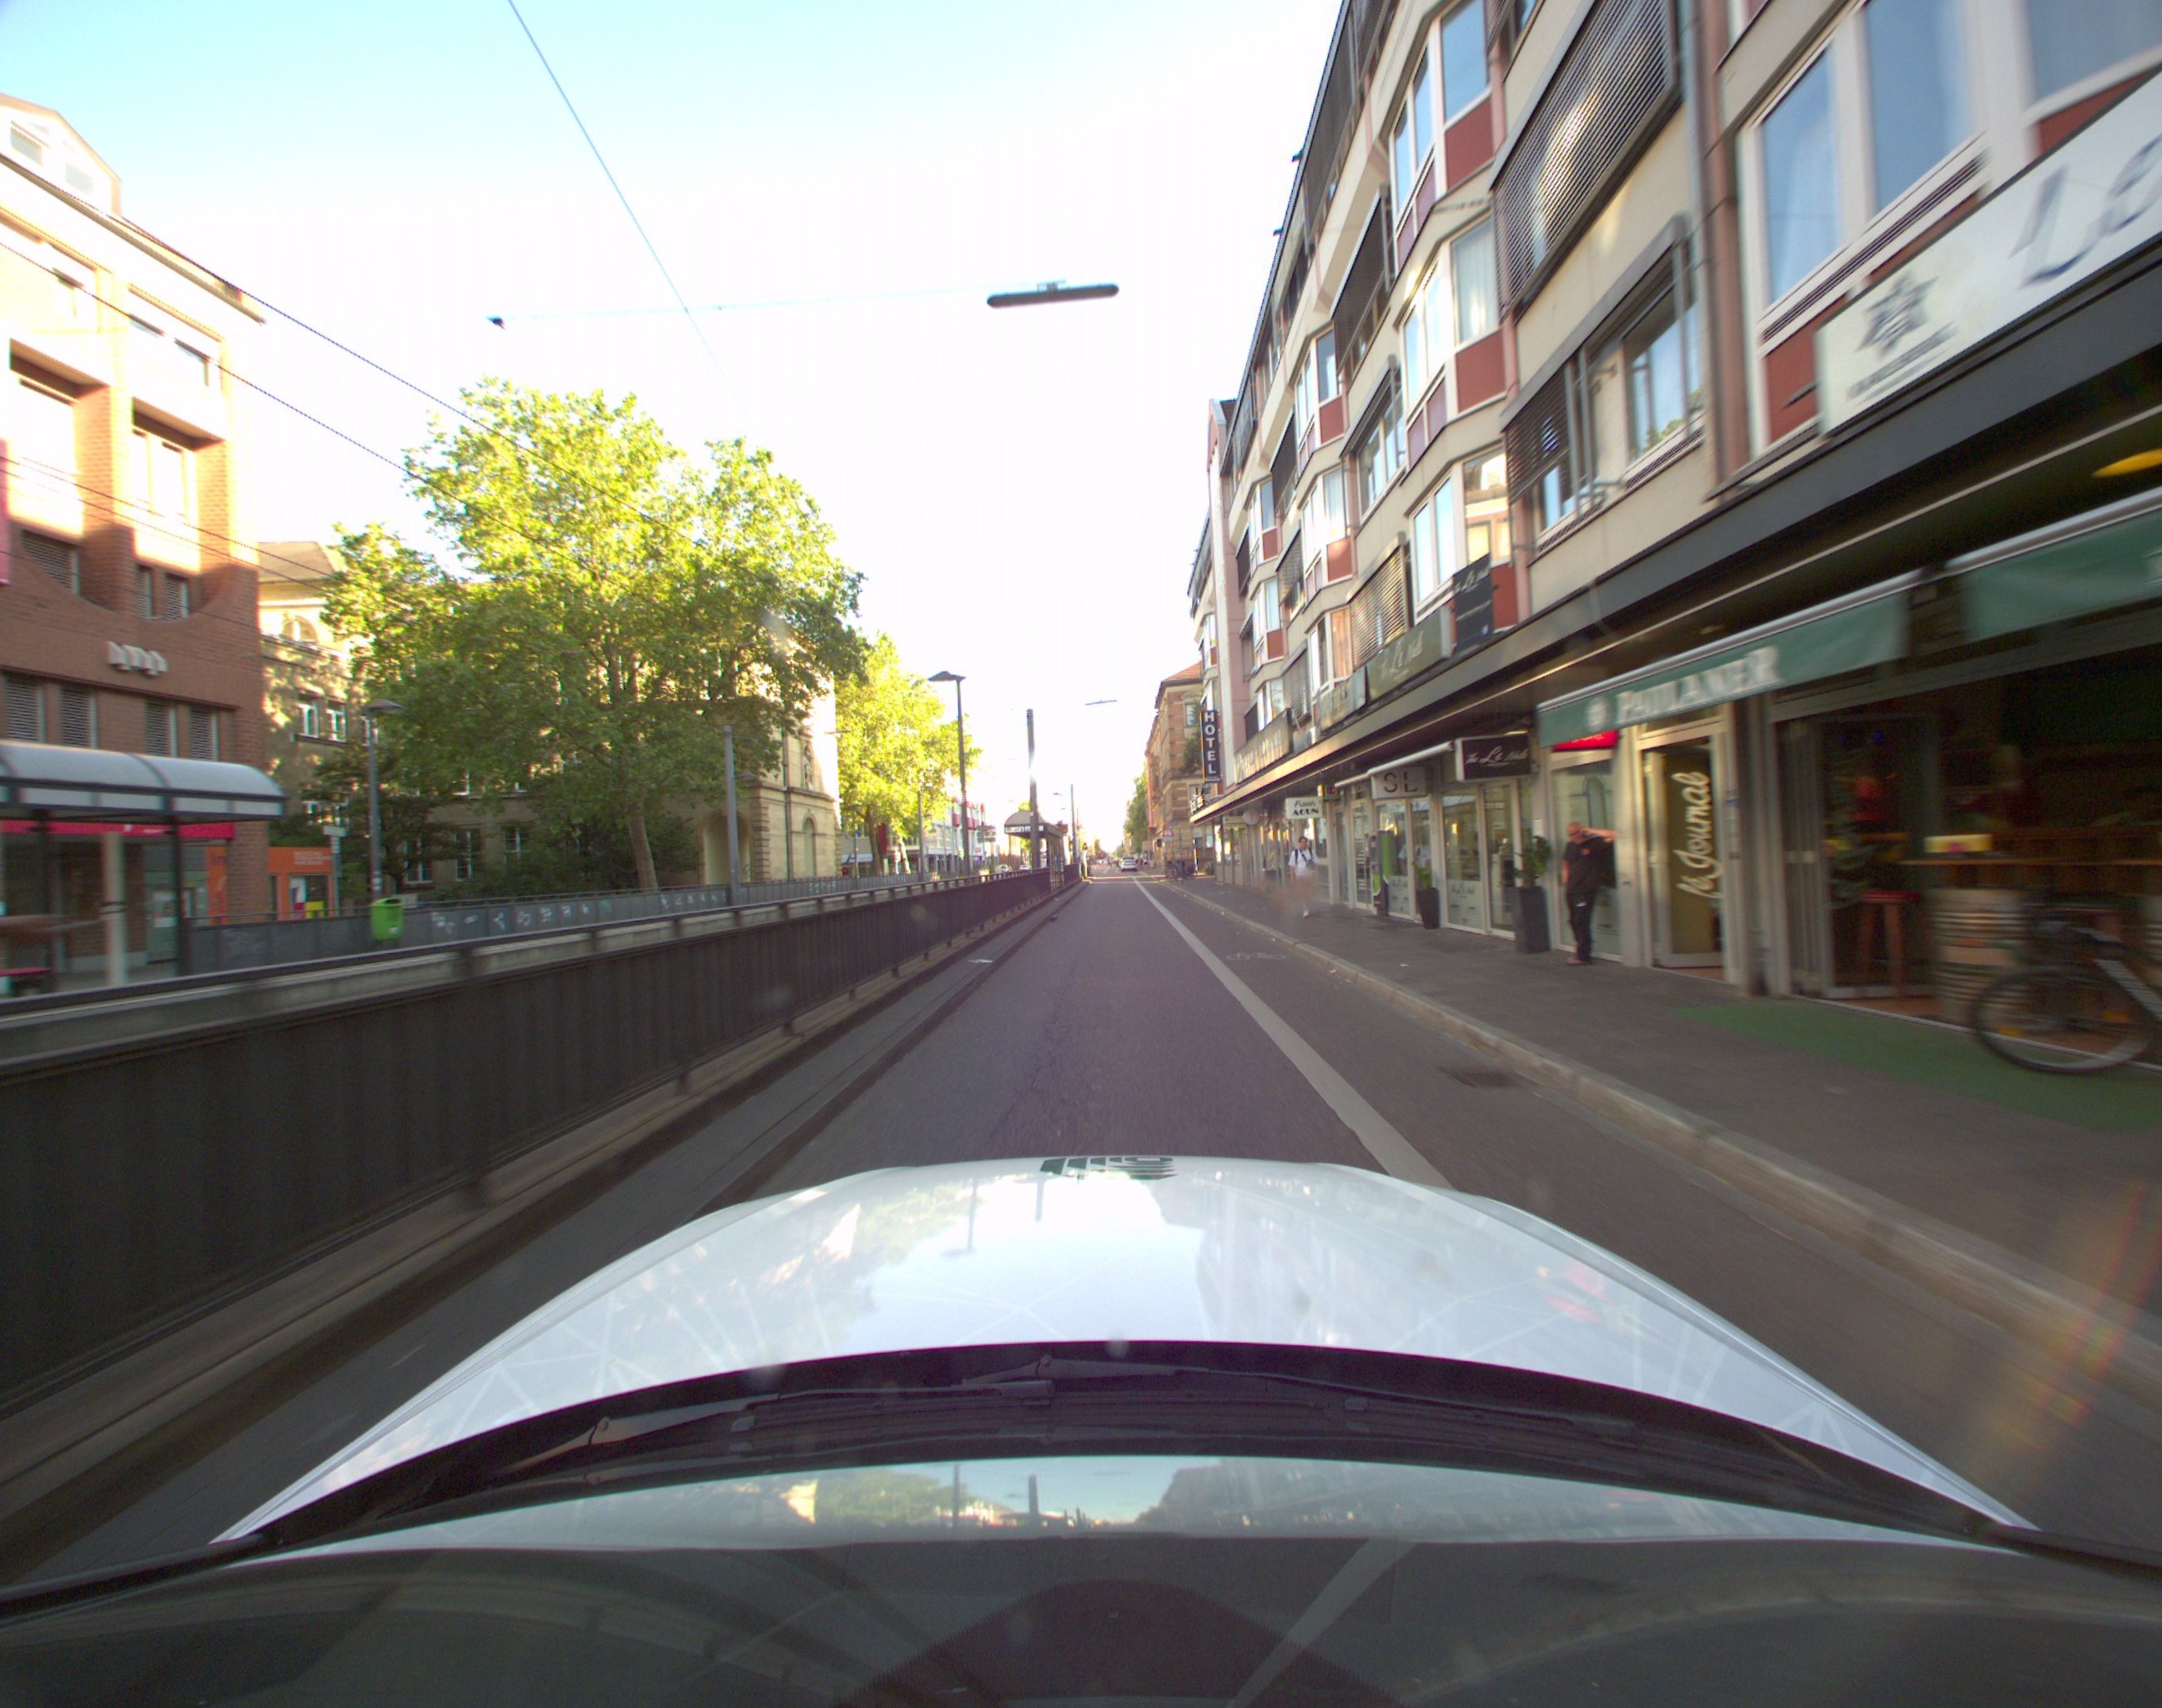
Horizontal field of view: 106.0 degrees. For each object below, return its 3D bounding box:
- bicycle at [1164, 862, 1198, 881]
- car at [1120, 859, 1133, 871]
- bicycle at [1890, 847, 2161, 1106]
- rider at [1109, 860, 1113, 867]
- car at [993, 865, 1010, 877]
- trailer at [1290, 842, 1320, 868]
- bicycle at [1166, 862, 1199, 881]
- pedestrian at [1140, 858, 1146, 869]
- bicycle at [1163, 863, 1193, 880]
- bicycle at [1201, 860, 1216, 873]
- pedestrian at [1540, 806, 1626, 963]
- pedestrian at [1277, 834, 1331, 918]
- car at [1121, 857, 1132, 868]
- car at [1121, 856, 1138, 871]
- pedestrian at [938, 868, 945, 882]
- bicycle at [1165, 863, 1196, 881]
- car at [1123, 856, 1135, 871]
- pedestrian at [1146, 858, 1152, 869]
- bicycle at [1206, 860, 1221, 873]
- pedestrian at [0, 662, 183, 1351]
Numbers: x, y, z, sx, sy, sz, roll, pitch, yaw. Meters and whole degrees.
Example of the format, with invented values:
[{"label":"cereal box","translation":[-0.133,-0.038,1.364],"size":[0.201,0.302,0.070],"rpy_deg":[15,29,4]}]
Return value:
[{"label":"bicycle","translation":[6.161,1.072,50.102],"size":[1.964,1.105,0.614],"rpy_deg":[-3,-1,-1]},{"label":"car","translation":[7.165,1.739,128.077],"size":[1.942,1.788,5.182],"rpy_deg":[-1,-1,1]},{"label":"bicycle","translation":[4.997,0.535,3.759],"size":[0.655,1.067,1.795],"rpy_deg":[-7,-1,2]},{"label":"rider","translation":[6.994,2.199,191.486],"size":[0.880,1.481,0.713],"rpy_deg":[-1,-1,3]},{"label":"car","translation":[-12.089,2.564,124.223],"size":[2.083,1.713,4.820],"rpy_deg":[-1,-2,1]},{"label":"trailer","translation":[16.277,0.103,59.035],"size":[1.952,1.732,3.949],"rpy_deg":[-4,-2,16]},{"label":"bicycle","translation":[6.152,1.061,49.444],"size":[1.907,1.047,0.681],"rpy_deg":[-2,-1,-1]},{"label":"pedestrian","translation":[9.635,1.514,127.179],"size":[0.772,1.567,0.914],"rpy_deg":[-6,-1,3]},{"label":"bicycle","translation":[6.232,1.121,52.505],"size":[1.828,1.054,0.710],"rpy_deg":[-2,-1,-1]},{"label":"bicycle","translation":[10.609,1.061,67.682],"size":[0.452,1.025,1.897],"rpy_deg":[-2,-1,-16]},{"label":"pedestrian","translation":[5.580,0.332,9.064],"size":[0.540,1.673,0.468],"rpy_deg":[-3,-1,-7]},{"label":"pedestrian","translation":[4.894,0.482,17.957],"size":[0.794,1.722,1.062],"rpy_deg":[-5,-2,3]},{"label":"car","translation":[8.879,1.587,157.708],"size":[1.963,2.014,4.562],"rpy_deg":[-4,-1,3]},{"label":"car","translation":[5.914,1.224,99.893],"size":[1.958,1.772,4.879],"rpy_deg":[-1,-1,3]},{"label":"pedestrian","translation":[-17.597,2.663,102.533],"size":[0.741,1.712,0.615],"rpy_deg":[-2,-1,-2]},{"label":"bicycle","translation":[6.183,1.101,50.831],"size":[1.828,1.054,0.718],"rpy_deg":[-2,-1,-1]},{"label":"car","translation":[7.260,1.492,122.691],"size":[1.697,2.120,3.711],"rpy_deg":[-2,-1,5]},{"label":"pedestrian","translation":[10.667,1.513,127.057],"size":[0.772,1.567,0.914],"rpy_deg":[-6,-1,3]},{"label":"bicycle","translation":[11.017,1.062,67.669],"size":[0.418,1.025,1.897],"rpy_deg":[-2,-1,-16]},{"label":"pedestrian","translation":[-3.114,0.402,2.243],"size":[0.581,1.792,0.606],"rpy_deg":[-2,-1,0]}]
